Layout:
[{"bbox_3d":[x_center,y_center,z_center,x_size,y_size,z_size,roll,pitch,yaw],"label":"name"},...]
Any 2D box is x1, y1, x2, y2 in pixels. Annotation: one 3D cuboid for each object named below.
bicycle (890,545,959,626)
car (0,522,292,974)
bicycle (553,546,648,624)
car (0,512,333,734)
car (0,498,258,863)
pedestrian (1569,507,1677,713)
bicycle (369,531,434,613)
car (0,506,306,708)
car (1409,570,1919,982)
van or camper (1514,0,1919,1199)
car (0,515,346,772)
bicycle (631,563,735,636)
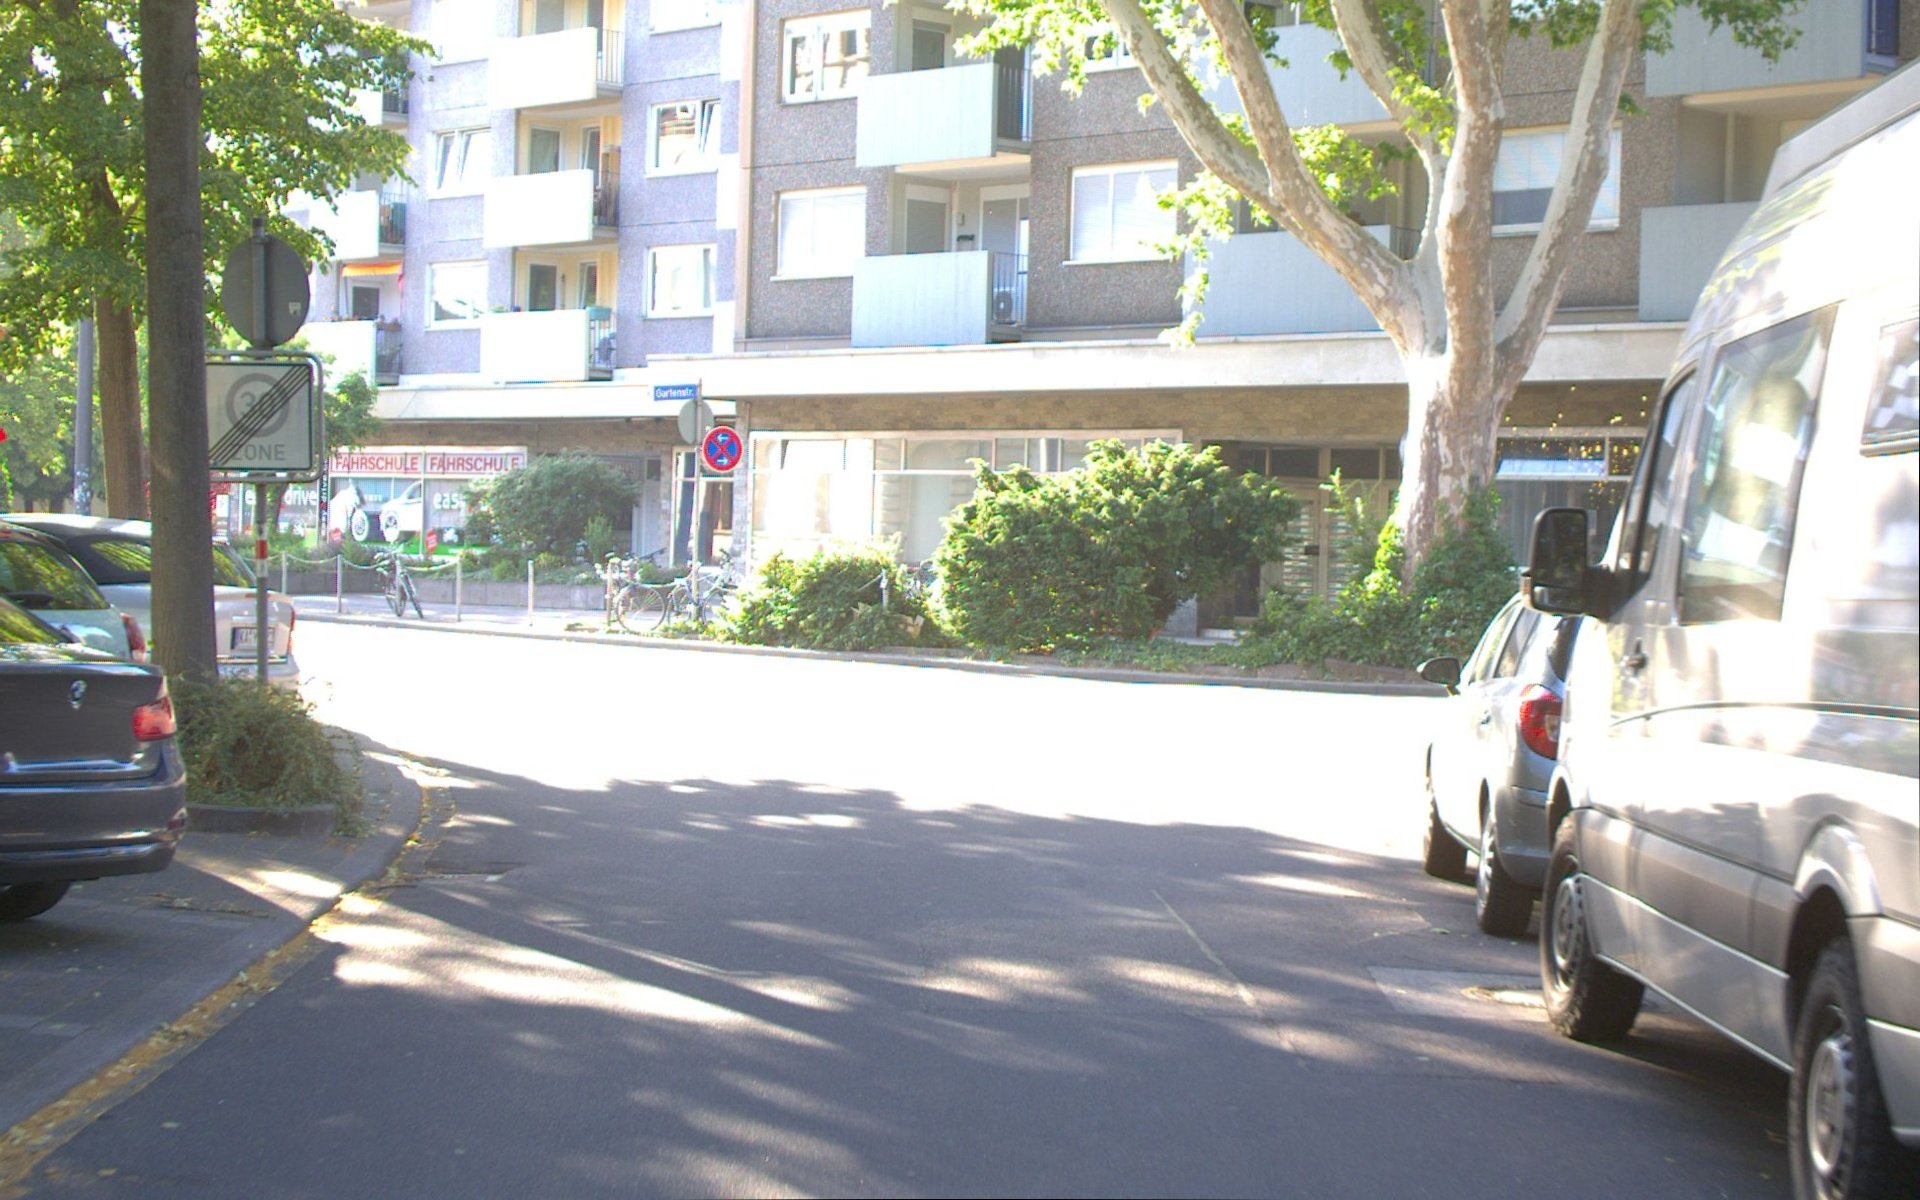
[{"bbox_3d":[-0.468,-0.195,44.772,0.348,1.034,1.052,0,2,-36],"label":"bicycle"},{"bbox_3d":[-4.752,0.350,12.510,4.192,1.434,1.829,5,1,24],"label":"car"},{"bbox_3d":[-4.936,-0.212,47.128,0.638,1.019,2.089,1,1,-25],"label":"bicycle"},{"bbox_3d":[-6.674,0.089,24.187,4.030,1.401,1.773,3,1,14],"label":"car"},{"bbox_3d":[-5.387,0.214,15.695,3.878,1.488,1.829,5,1,26],"label":"car"},{"bbox_3d":[5.811,0.079,30.157,0.812,1.775,0.716,1,1,4],"label":"pedestrian"},{"bbox_3d":[-8.714,-0.448,53.558,0.638,1.222,2.089,1,1,-19],"label":"bicycle"},{"bbox_3d":[-7.499,-0.022,26.899,4.283,1.424,1.773,3,1,16],"label":"car"},{"bbox_3d":[3.041,0.662,15.215,1.680,1.441,3.871,4,1,3],"label":"car"},{"bbox_3d":[2.847,0.035,8.512,2.084,2.753,5.845,2,1,2],"label":"van or camper"},{"bbox_3d":[-6.047,0.165,21.261,3.975,1.360,1.773,5,1,15],"label":"car"},{"bbox_3d":[-3.672,-0.014,45.475,0.542,0.901,1.736,0,1,-35],"label":"bicycle"}]
